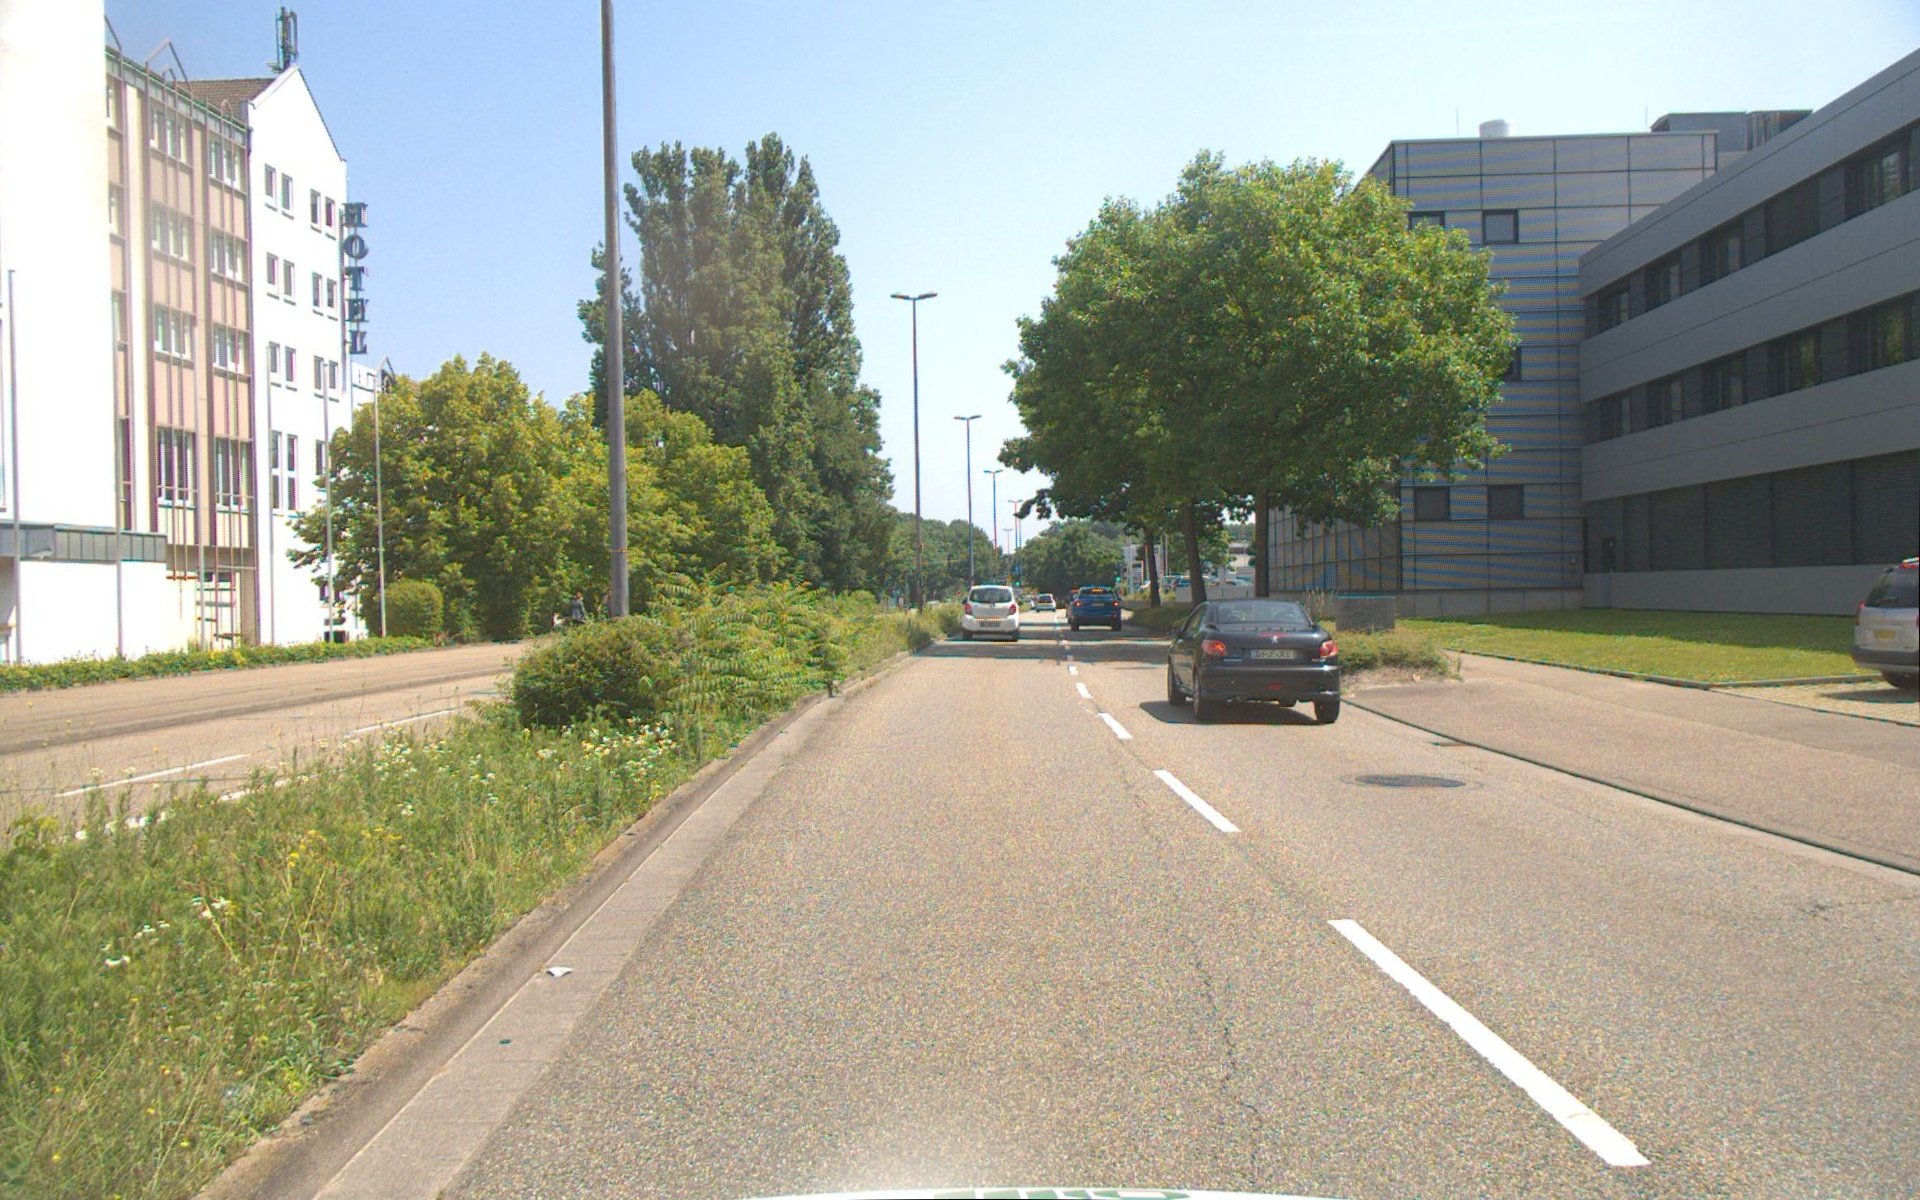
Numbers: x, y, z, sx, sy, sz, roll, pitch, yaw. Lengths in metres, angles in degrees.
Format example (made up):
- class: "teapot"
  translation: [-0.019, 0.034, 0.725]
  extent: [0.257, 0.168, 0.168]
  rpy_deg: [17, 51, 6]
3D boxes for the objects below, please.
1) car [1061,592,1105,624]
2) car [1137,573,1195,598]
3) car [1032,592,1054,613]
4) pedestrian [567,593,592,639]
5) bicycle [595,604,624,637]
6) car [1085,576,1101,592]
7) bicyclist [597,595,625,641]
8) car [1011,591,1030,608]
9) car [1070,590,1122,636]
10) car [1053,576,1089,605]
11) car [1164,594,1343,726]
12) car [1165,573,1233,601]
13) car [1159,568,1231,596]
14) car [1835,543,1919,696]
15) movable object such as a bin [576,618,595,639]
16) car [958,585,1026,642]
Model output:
- class: "car"
  translation: [5.957, 0.372, 80.423]
  extent: [1.952, 1.467, 4.001]
  rpy_deg: [-2, 0, 2]
- class: "car"
  translation: [15.292, -1.055, 122.943]
  extent: [4.139, 1.676, 2.001]
  rpy_deg: [-2, 0, 2]
- class: "car"
  translation: [7.300, 0.224, 145.555]
  extent: [1.781, 1.691, 4.001]
  rpy_deg: [-2, 1, 2]
- class: "pedestrian"
  translation: [-13.310, 0.566, 57.912]
  extent: [0.619, 1.572, 0.727]
  rpy_deg: [-2, 0, 3]
- class: "bicycle"
  translation: [-12.145, 0.709, 57.392]
  extent: [0.539, 1.092, 2.063]
  rpy_deg: [-1, 0, 0]
- class: "car"
  translation: [17.560, -2.101, 218.270]
  extent: [1.734, 2.048, 3.991]
  rpy_deg: [-2, 1, 0]
- class: "bicyclist"
  translation: [-12.102, 0.617, 57.307]
  extent: [0.703, 1.542, 1.026]
  rpy_deg: [-2, 0, -1]
- class: "car"
  translation: [6.564, -0.059, 179.551]
  extent: [1.782, 1.691, 4.000]
  rpy_deg: [-2, 1, -1]
- class: "car"
  translation: [5.085, 0.461, 61.453]
  extent: [1.789, 1.608, 3.608]
  rpy_deg: [-2, 0, 6]
- class: "car"
  translation: [7.101, -0.591, 106.064]
  extent: [1.953, 1.758, 3.999]
  rpy_deg: [-2, 1, -1]
- class: "car"
  translation: [3.434, 0.649, 19.887]
  extent: [1.593, 1.388, 3.606]
  rpy_deg: [0, 1, 1]
- class: "car"
  translation: [14.881, -0.818, 103.002]
  extent: [3.906, 1.646, 2.000]
  rpy_deg: [-2, 0, -1]
- class: "car"
  translation: [15.269, -1.171, 107.642]
  extent: [4.405, 1.610, 2.001]
  rpy_deg: [-2, 0, 2]
- class: "car"
  translation: [12.136, 0.082, 18.482]
  extent: [3.736, 1.619, 1.732]
  rpy_deg: [-4, 0, -2]
- class: "movable object such as a bin"
  translation: [-13.014, 0.988, 57.472]
  extent: [0.419, 0.717, 0.653]
  rpy_deg: [-2, 0, 11]
- class: "car"
  translation: [0.958, 0.360, 47.501]
  extent: [1.711, 1.546, 3.748]
  rpy_deg: [0, 1, 4]
